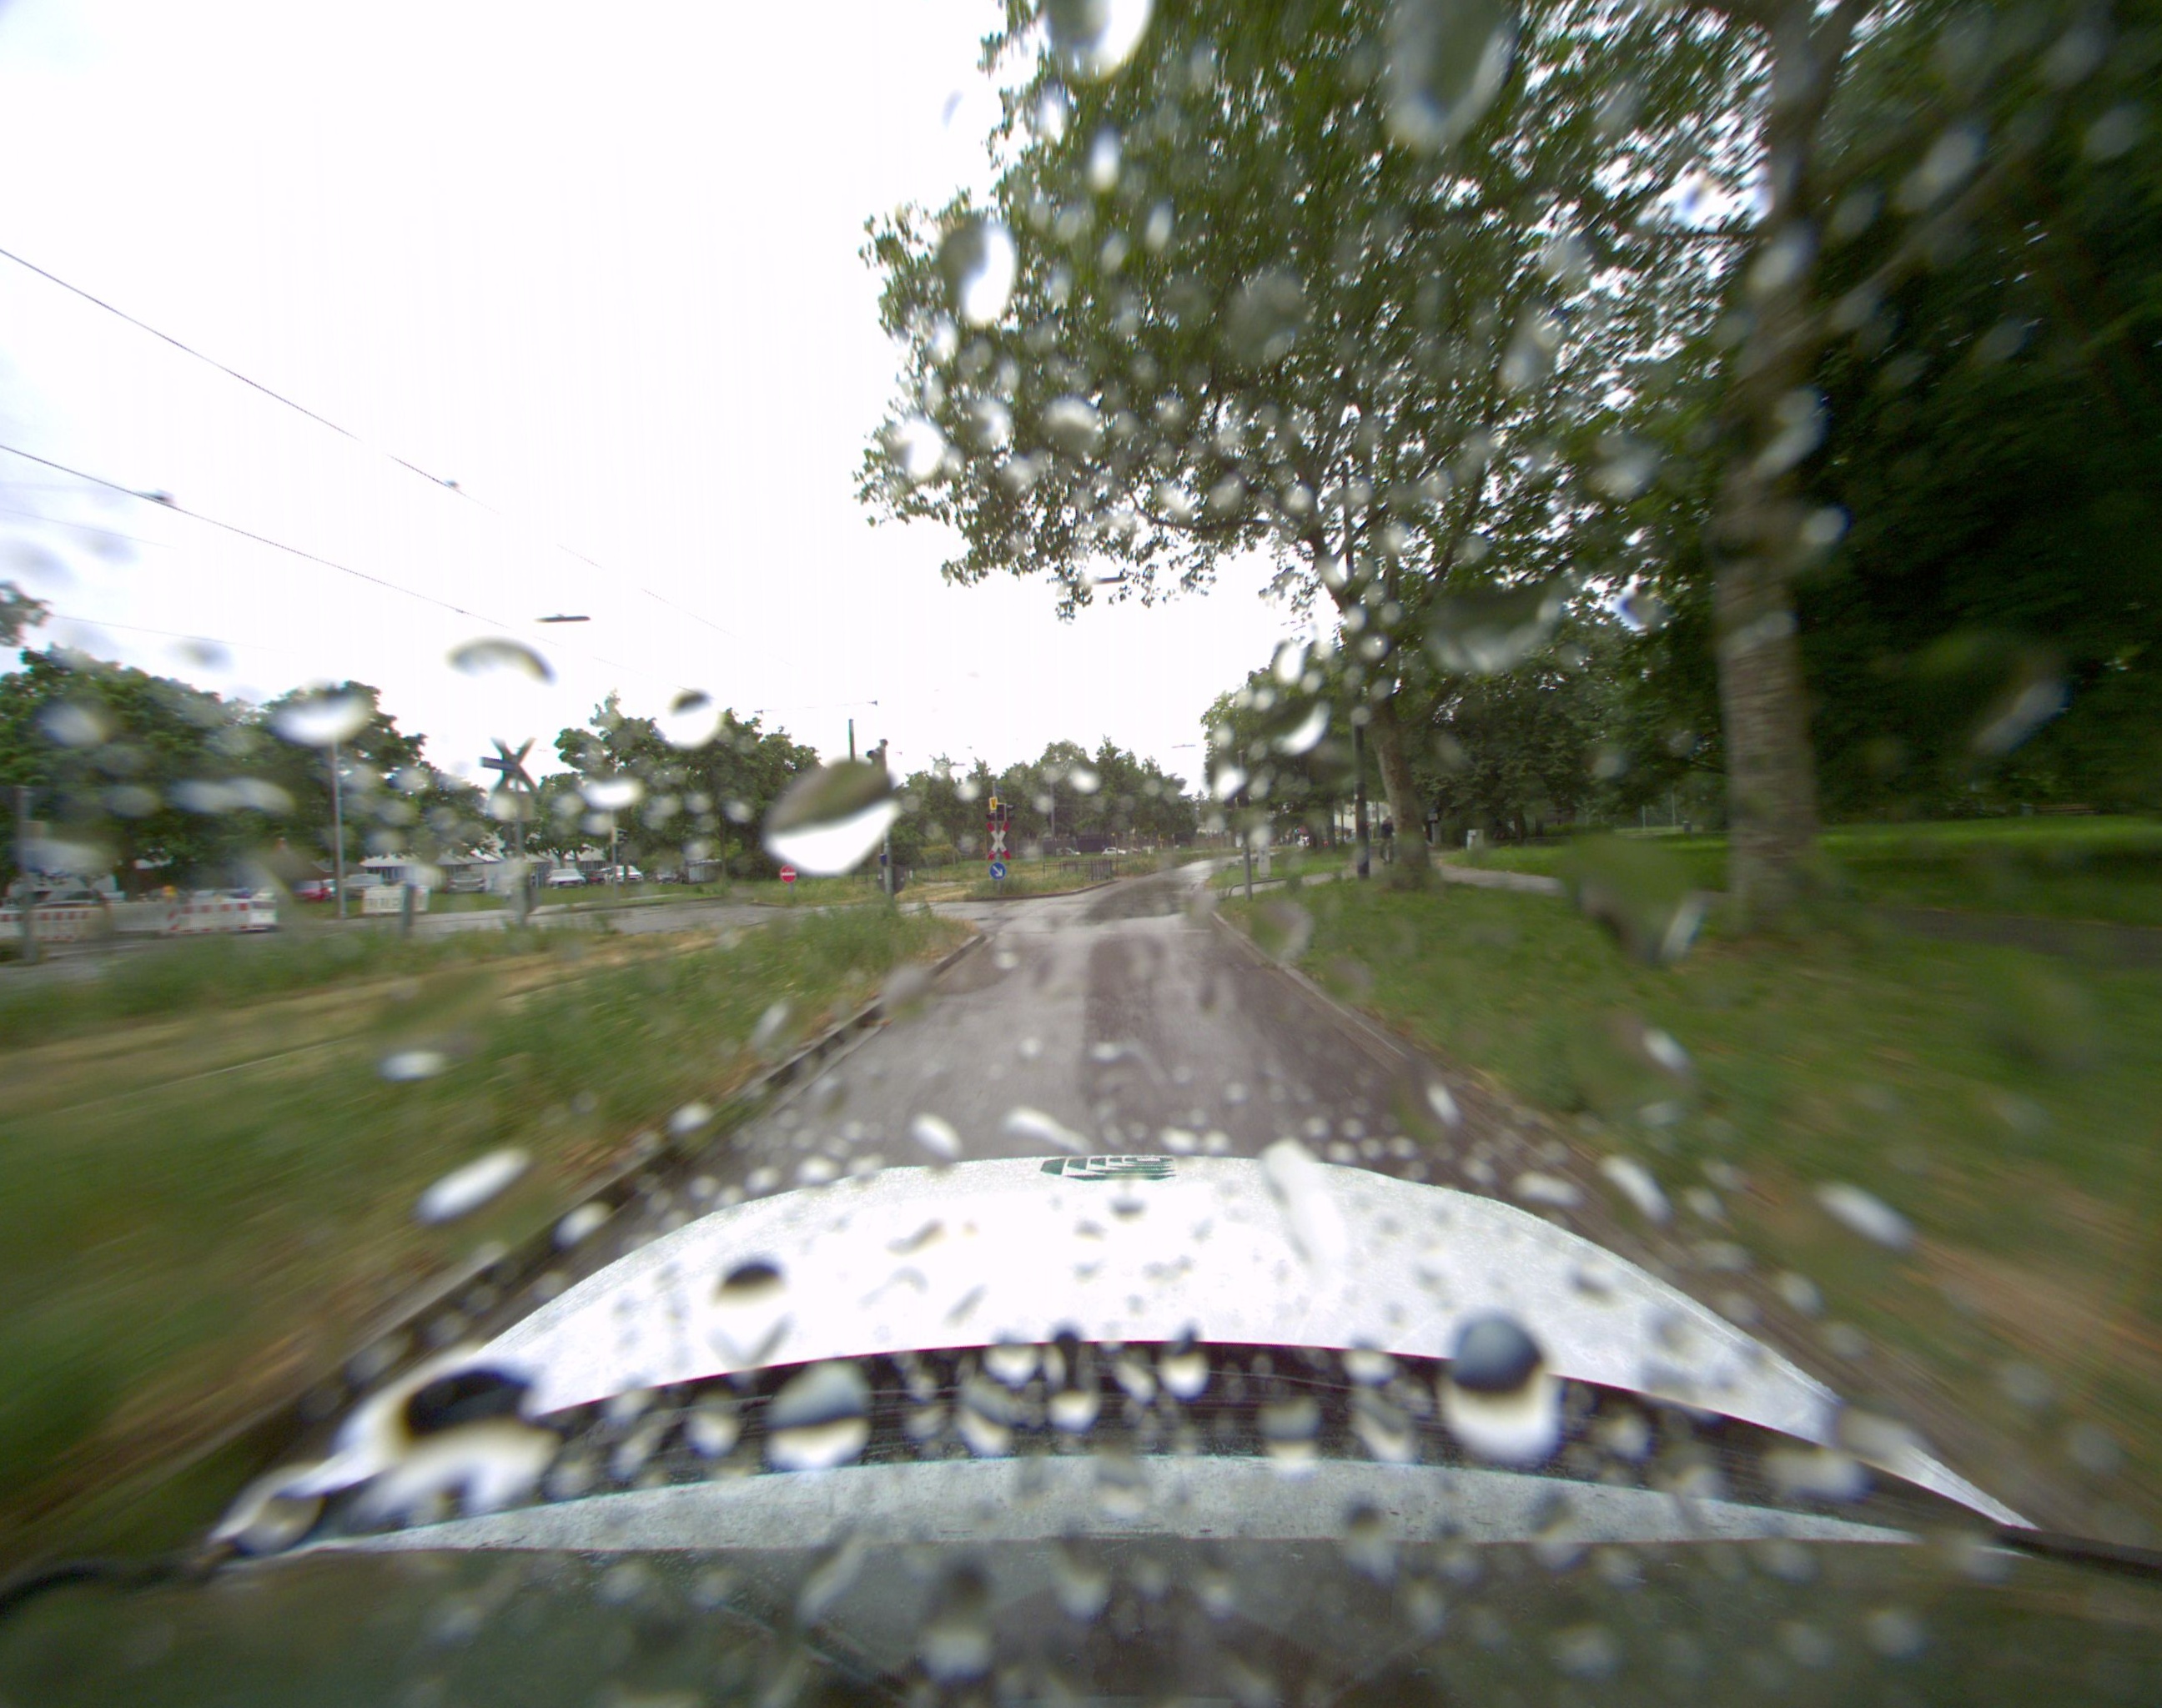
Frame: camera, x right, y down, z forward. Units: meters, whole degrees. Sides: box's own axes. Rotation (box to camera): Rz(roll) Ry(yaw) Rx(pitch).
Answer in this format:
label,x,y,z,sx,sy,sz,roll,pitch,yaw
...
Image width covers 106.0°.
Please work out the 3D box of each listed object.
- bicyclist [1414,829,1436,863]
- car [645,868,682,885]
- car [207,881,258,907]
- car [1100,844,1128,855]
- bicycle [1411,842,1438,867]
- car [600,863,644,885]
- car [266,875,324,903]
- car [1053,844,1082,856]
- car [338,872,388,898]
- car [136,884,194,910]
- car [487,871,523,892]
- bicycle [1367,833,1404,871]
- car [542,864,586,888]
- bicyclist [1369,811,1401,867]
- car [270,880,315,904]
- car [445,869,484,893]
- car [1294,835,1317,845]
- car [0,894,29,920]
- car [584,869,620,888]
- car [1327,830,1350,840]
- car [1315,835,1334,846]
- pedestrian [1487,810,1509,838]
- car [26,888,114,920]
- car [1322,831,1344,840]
label,x,y,z,sx,sy,sz,roll,pitch,yaw
bicyclist,10.913,-0.247,25.864,0.484,1.038,0.593,-3,2,10
car,-32.457,1.755,63.257,1.674,1.249,3.698,-3,0,-40
car,-50.528,2.362,48.551,1.674,1.325,3.698,-3,0,-40
car,5.210,-0.717,129.905,4.033,1.499,1.660,-3,0,18
bicycle,10.947,0.020,25.990,0.484,0.708,1.462,-3,2,11
car,-28.960,1.282,51.356,1.674,1.249,3.698,-3,0,-40
car,-40.596,1.793,42.134,1.673,1.249,3.700,-3,0,-37
car,-2.194,-0.680,132.702,4.174,1.796,1.661,-3,1,20
car,-38.402,1.653,43.607,1.673,1.249,3.700,-3,0,-37
car,-53.107,2.484,47.282,1.674,1.325,3.698,-3,0,-40
car,-40.147,1.908,56.700,1.674,1.325,3.698,-3,0,-40
bicycle,9.774,-0.086,26.207,0.707,1.142,1.978,-3,1,10
car,-31.114,1.330,48.961,1.674,1.249,3.698,-3,0,-40
bicyclist,9.740,-0.480,26.106,0.707,1.721,0.960,-3,1,9
car,-48.503,2.322,50.156,1.674,1.325,3.698,-3,0,-40
car,-35.521,1.552,46.942,1.673,1.249,3.700,-3,0,-37
car,34.078,-2.127,123.605,1.536,1.420,3.979,-3,1,-15
car,-57.636,2.860,43.054,1.674,1.325,3.698,-3,0,-40
car,-35.367,1.794,60.084,1.674,1.249,3.698,-3,0,-40
car,51.911,-3.850,164.356,4.094,1.859,1.684,-3,0,36
car,34.077,-1.939,114.014,1.677,1.420,3.819,-3,1,3
pedestrian,25.888,-1.872,50.591,1.021,1.694,0.860,-3,0,35
car,-46.781,2.270,37.777,1.673,1.249,3.700,-3,0,-37
car,49.964,-3.630,161.496,3.713,1.442,1.774,-3,0,33
